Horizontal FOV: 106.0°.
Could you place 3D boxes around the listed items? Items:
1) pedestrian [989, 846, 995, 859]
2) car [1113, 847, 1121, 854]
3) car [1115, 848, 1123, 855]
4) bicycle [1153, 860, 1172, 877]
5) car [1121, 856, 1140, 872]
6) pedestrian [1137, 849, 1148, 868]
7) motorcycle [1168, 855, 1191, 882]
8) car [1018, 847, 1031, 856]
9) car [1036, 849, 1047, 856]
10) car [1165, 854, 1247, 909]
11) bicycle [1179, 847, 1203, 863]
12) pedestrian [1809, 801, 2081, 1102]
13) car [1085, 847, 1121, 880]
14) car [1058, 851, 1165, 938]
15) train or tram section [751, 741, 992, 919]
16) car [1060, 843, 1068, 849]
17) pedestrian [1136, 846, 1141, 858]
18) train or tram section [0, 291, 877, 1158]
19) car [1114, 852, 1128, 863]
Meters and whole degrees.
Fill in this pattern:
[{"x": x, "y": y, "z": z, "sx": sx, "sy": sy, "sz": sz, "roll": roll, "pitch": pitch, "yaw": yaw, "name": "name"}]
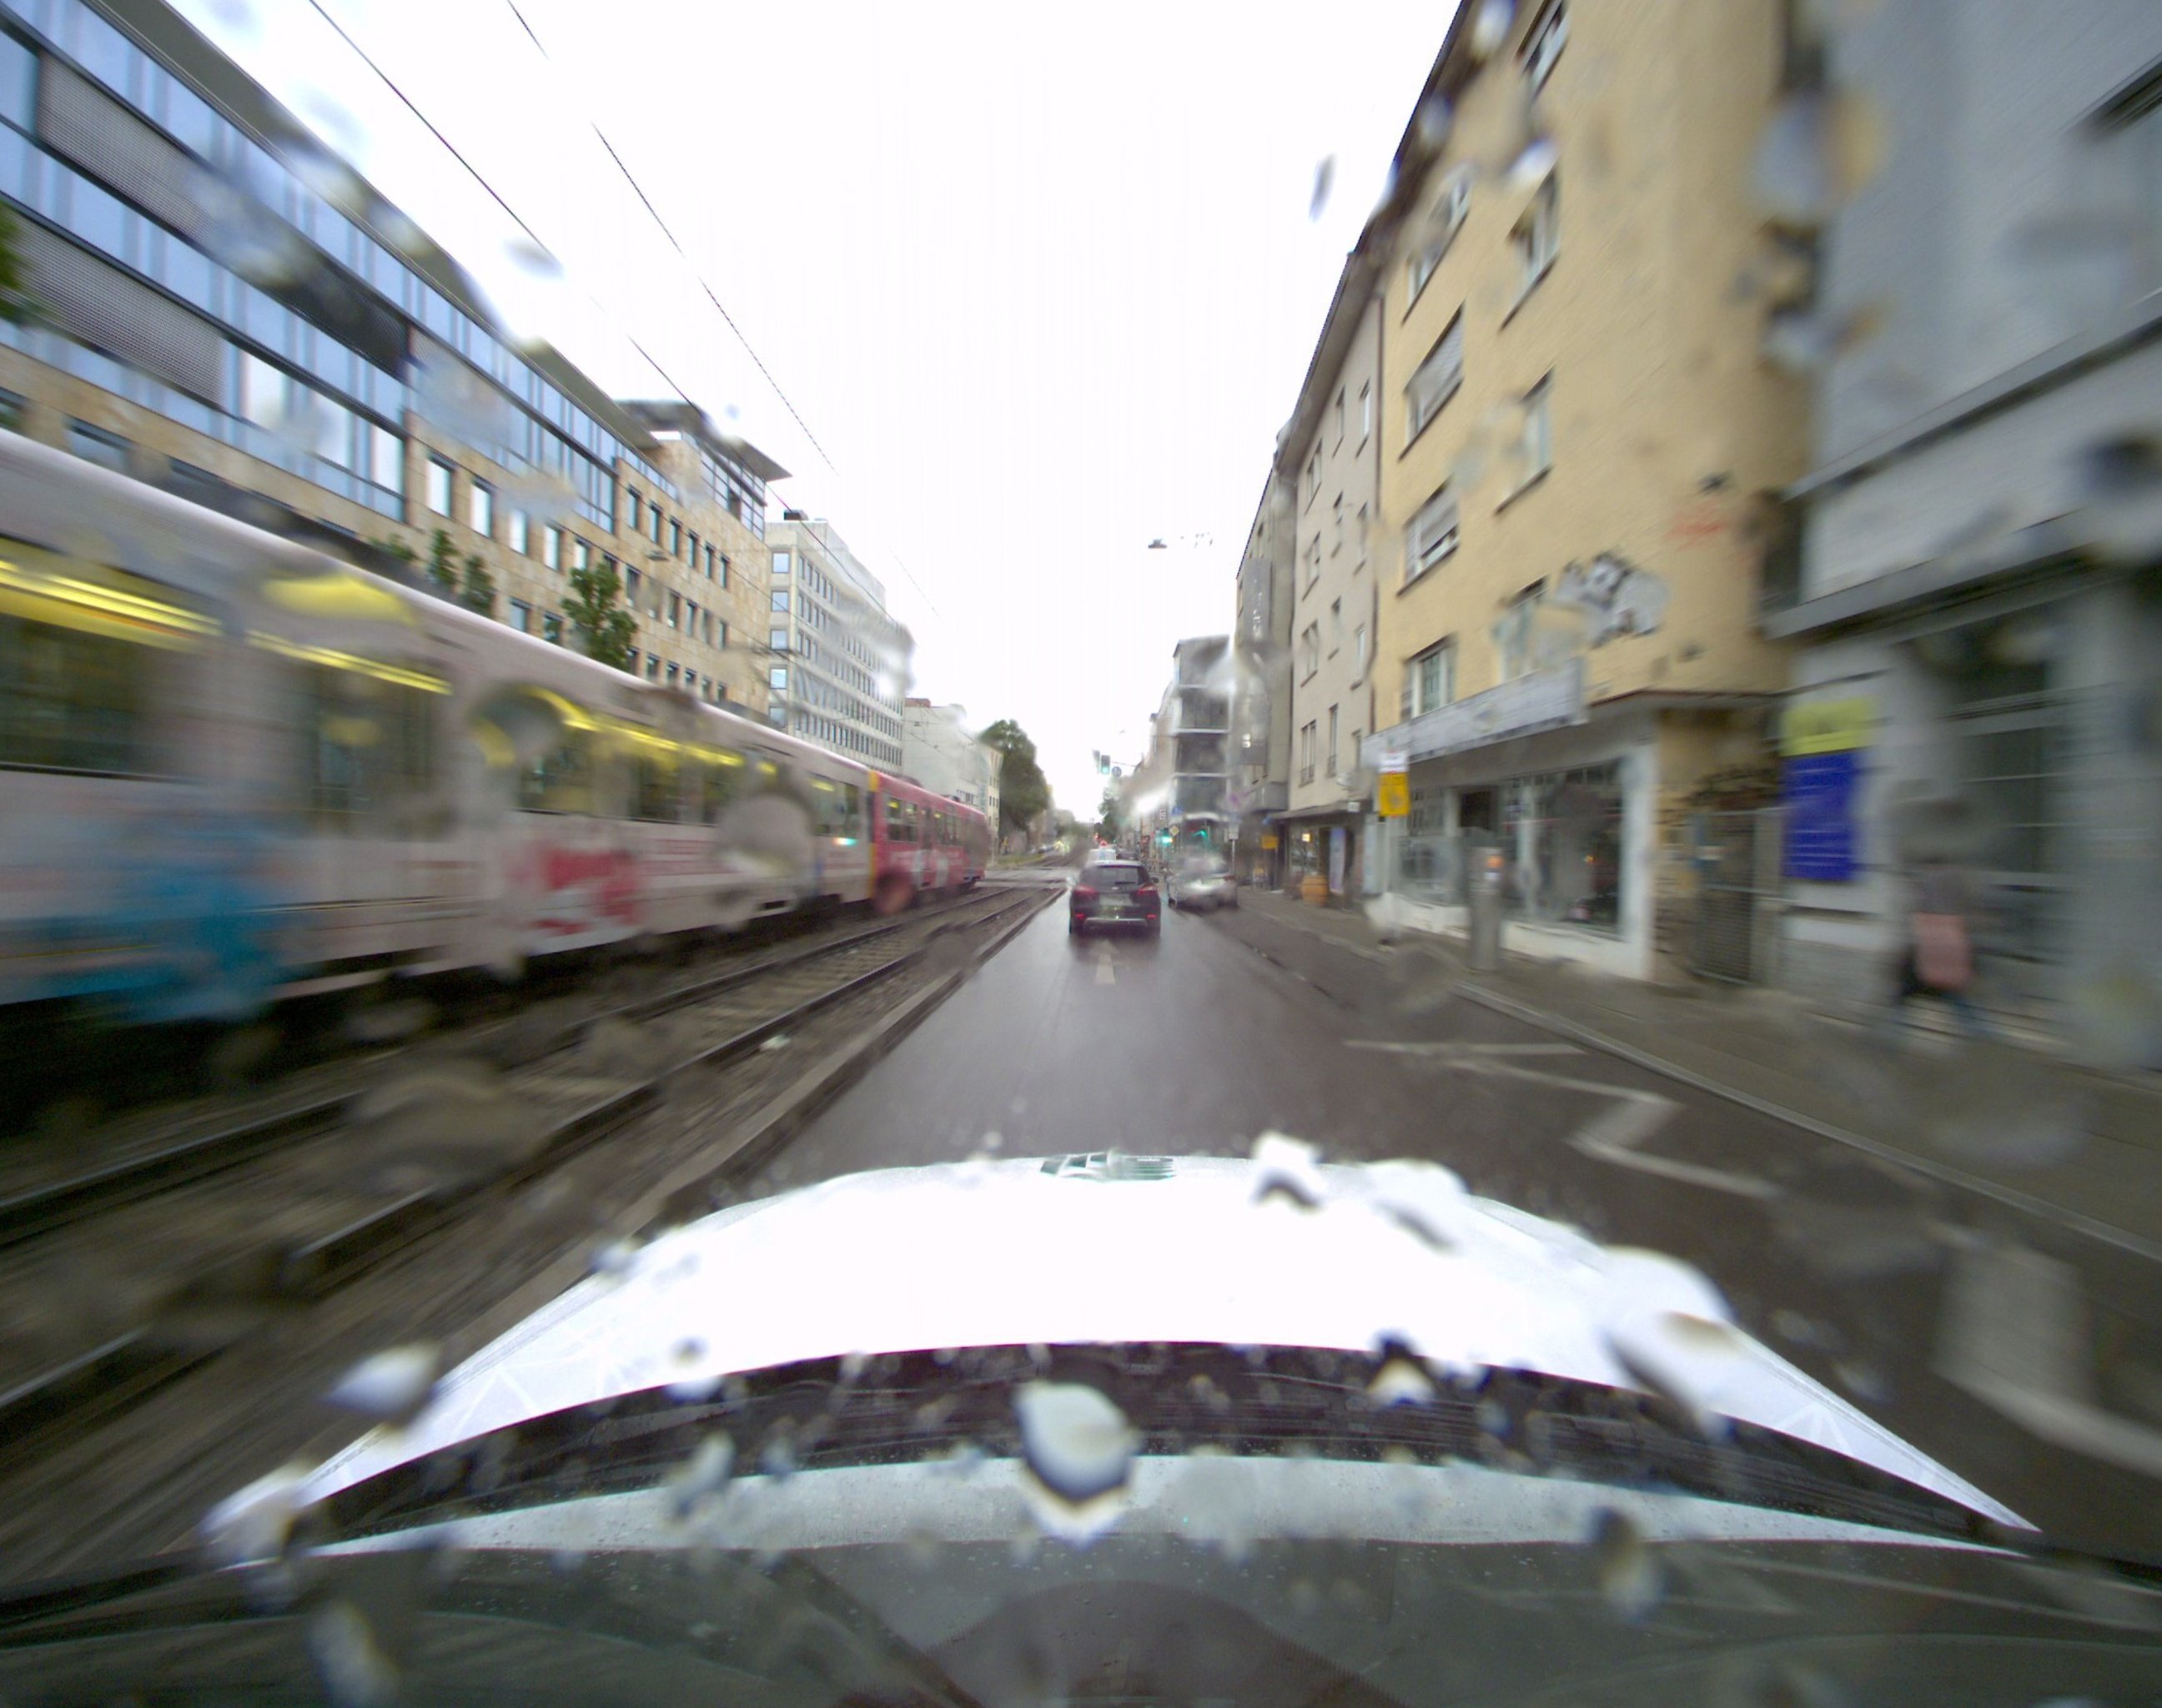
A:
[{"x": -12.694, "y": -0.229, "z": 115.795, "sx": 0.676, "sy": 1.895, "sz": 0.743, "roll": 1, "pitch": 0, "yaw": 1, "name": "pedestrian"}, {"x": 8.274, "y": -0.812, "z": 187.238, "sx": 1.637, "sy": 1.515, "sz": 4.040, "roll": 1, "pitch": 1, "yaw": 1, "name": "car"}, {"x": 8.544, "y": -0.577, "z": 182.501, "sx": 1.732, "sy": 1.489, "sz": 4.001, "roll": 1, "pitch": 1, "yaw": 1, "name": "car"}, {"x": 6.143, "y": 1.082, "z": 61.412, "sx": 0.499, "sy": 1.259, "sz": 1.942, "roll": 1, "pitch": 0, "yaw": -23, "name": "bicycle"}, {"x": 5.312, "y": 1.071, "z": 87.639, "sx": 1.986, "sy": 1.594, "sz": 4.273, "roll": 0, "pitch": 0, "yaw": 2, "name": "car"}, {"x": 5.260, "y": 0.384, "z": 69.588, "sx": 0.661, "sy": 1.582, "sz": 0.774, "roll": 0, "pitch": 0, "yaw": -20, "name": "pedestrian"}, {"x": 5.468, "y": 0.793, "z": 45.099, "sx": 1.137, "sy": 1.461, "sz": 0.676, "roll": 0, "pitch": 0, "yaw": -35, "name": "motorcycle"}, {"x": -9.832, "y": -0.480, "z": 141.536, "sx": 1.737, "sy": 1.468, "sz": 4.221, "roll": -1, "pitch": 1, "yaw": 1, "name": "car"}, {"x": -8.437, "y": -0.370, "z": 174.661, "sx": 1.986, "sy": 1.519, "sz": 4.437, "roll": 1, "pitch": 1, "yaw": 1, "name": "car"}, {"x": 3.820, "y": 0.788, "z": 25.644, "sx": 2.016, "sy": 1.594, "sz": 4.623, "roll": 0, "pitch": 0, "yaw": 2, "name": "car"}, {"x": 8.090, "y": 0.092, "z": 59.868, "sx": 0.580, "sy": 1.157, "sz": 1.936, "roll": 1, "pitch": 0, "yaw": -35, "name": "bicycle"}, {"x": 5.250, "y": 0.555, "z": 5.008, "sx": 0.788, "sy": 1.659, "sz": 0.721, "roll": -4, "pitch": 0, "yaw": 1, "name": "pedestrian"}, {"x": 1.309, "y": 0.539, "z": 46.847, "sx": 1.985, "sy": 1.816, "sz": 4.275, "roll": 0, "pitch": 0, "yaw": 3, "name": "car"}, {"x": 0.648, "y": 0.746, "z": 17.211, "sx": 1.986, "sy": 1.594, "sz": 4.273, "roll": 0, "pitch": 0, "yaw": 2, "name": "car"}, {"x": -5.813, "y": -0.496, "z": 27.986, "sx": 2.891, "sy": 4.050, "sz": 18.774, "roll": 0, "pitch": 0, "yaw": 2, "name": "train or tram section"}, {"x": -5.063, "y": -2.284, "z": 238.204, "sx": 1.986, "sy": 1.519, "sz": 4.445, "roll": 1, "pitch": -1, "yaw": 2, "name": "car"}, {"x": 9.945, "y": -0.321, "z": 140.911, "sx": 0.733, "sy": 2.013, "sz": 0.821, "roll": 1, "pitch": 1, "yaw": 0, "name": "pedestrian"}, {"x": -6.334, "y": -0.574, "z": 9.272, "sx": 2.891, "sy": 4.050, "sz": 18.417, "roll": 0, "pitch": 0, "yaw": 2, "name": "train or tram section"}, {"x": 5.813, "y": 0.498, "z": 119.388, "sx": 1.986, "sy": 1.594, "sz": 4.574, "roll": 0, "pitch": 0, "yaw": 2, "name": "car"}]
